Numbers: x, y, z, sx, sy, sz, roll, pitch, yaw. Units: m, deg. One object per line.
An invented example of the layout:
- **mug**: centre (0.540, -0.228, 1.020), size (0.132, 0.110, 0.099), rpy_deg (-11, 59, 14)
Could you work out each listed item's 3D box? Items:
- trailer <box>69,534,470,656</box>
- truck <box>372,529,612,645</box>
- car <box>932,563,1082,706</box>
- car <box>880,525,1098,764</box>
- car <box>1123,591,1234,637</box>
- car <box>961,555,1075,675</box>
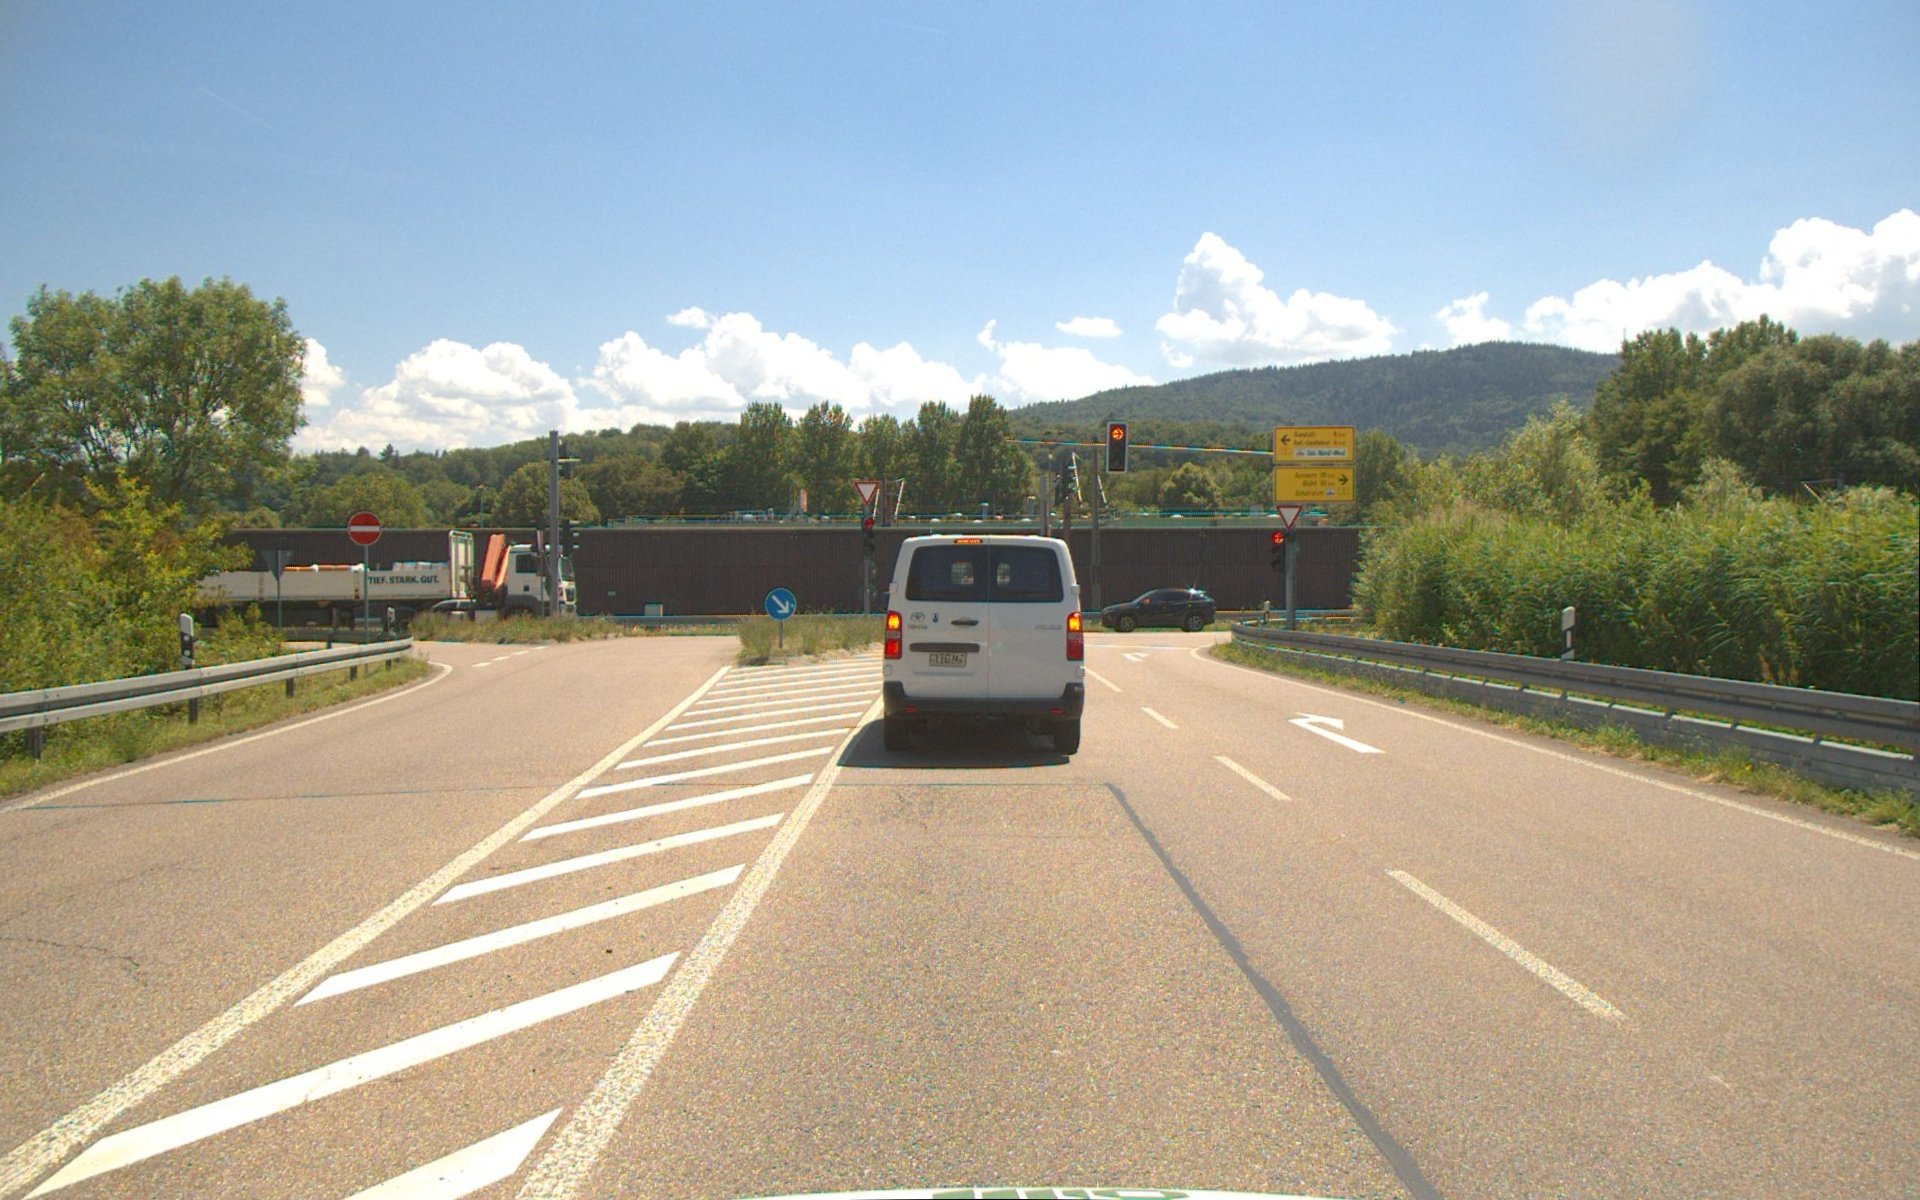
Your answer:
- **trailer**: centre (-22.743, -0.207, 54.930), size (12.076, 3.565, 2.231), rpy_deg (-2, 1, -3)
- **truck**: centre (-15.553, -0.460, 55.284), size (7.256, 3.565, 2.232), rpy_deg (-2, 1, -2)
- **car**: centre (0.632, 0.460, 24.059), size (1.953, 1.844, 4.000), rpy_deg (-2, 0, 0)
- **car**: centre (0.238, 0.370, 15.957), size (1.832, 1.999, 4.000), rpy_deg (0, 0, 0)
- **car**: centre (8.350, 0.528, 63.475), size (4.011, 1.500, 1.950), rpy_deg (-3, 2, 4)
- **car**: centre (1.026, 0.256, 31.054), size (1.953, 2.048, 4.000), rpy_deg (-2, 0, 0)
